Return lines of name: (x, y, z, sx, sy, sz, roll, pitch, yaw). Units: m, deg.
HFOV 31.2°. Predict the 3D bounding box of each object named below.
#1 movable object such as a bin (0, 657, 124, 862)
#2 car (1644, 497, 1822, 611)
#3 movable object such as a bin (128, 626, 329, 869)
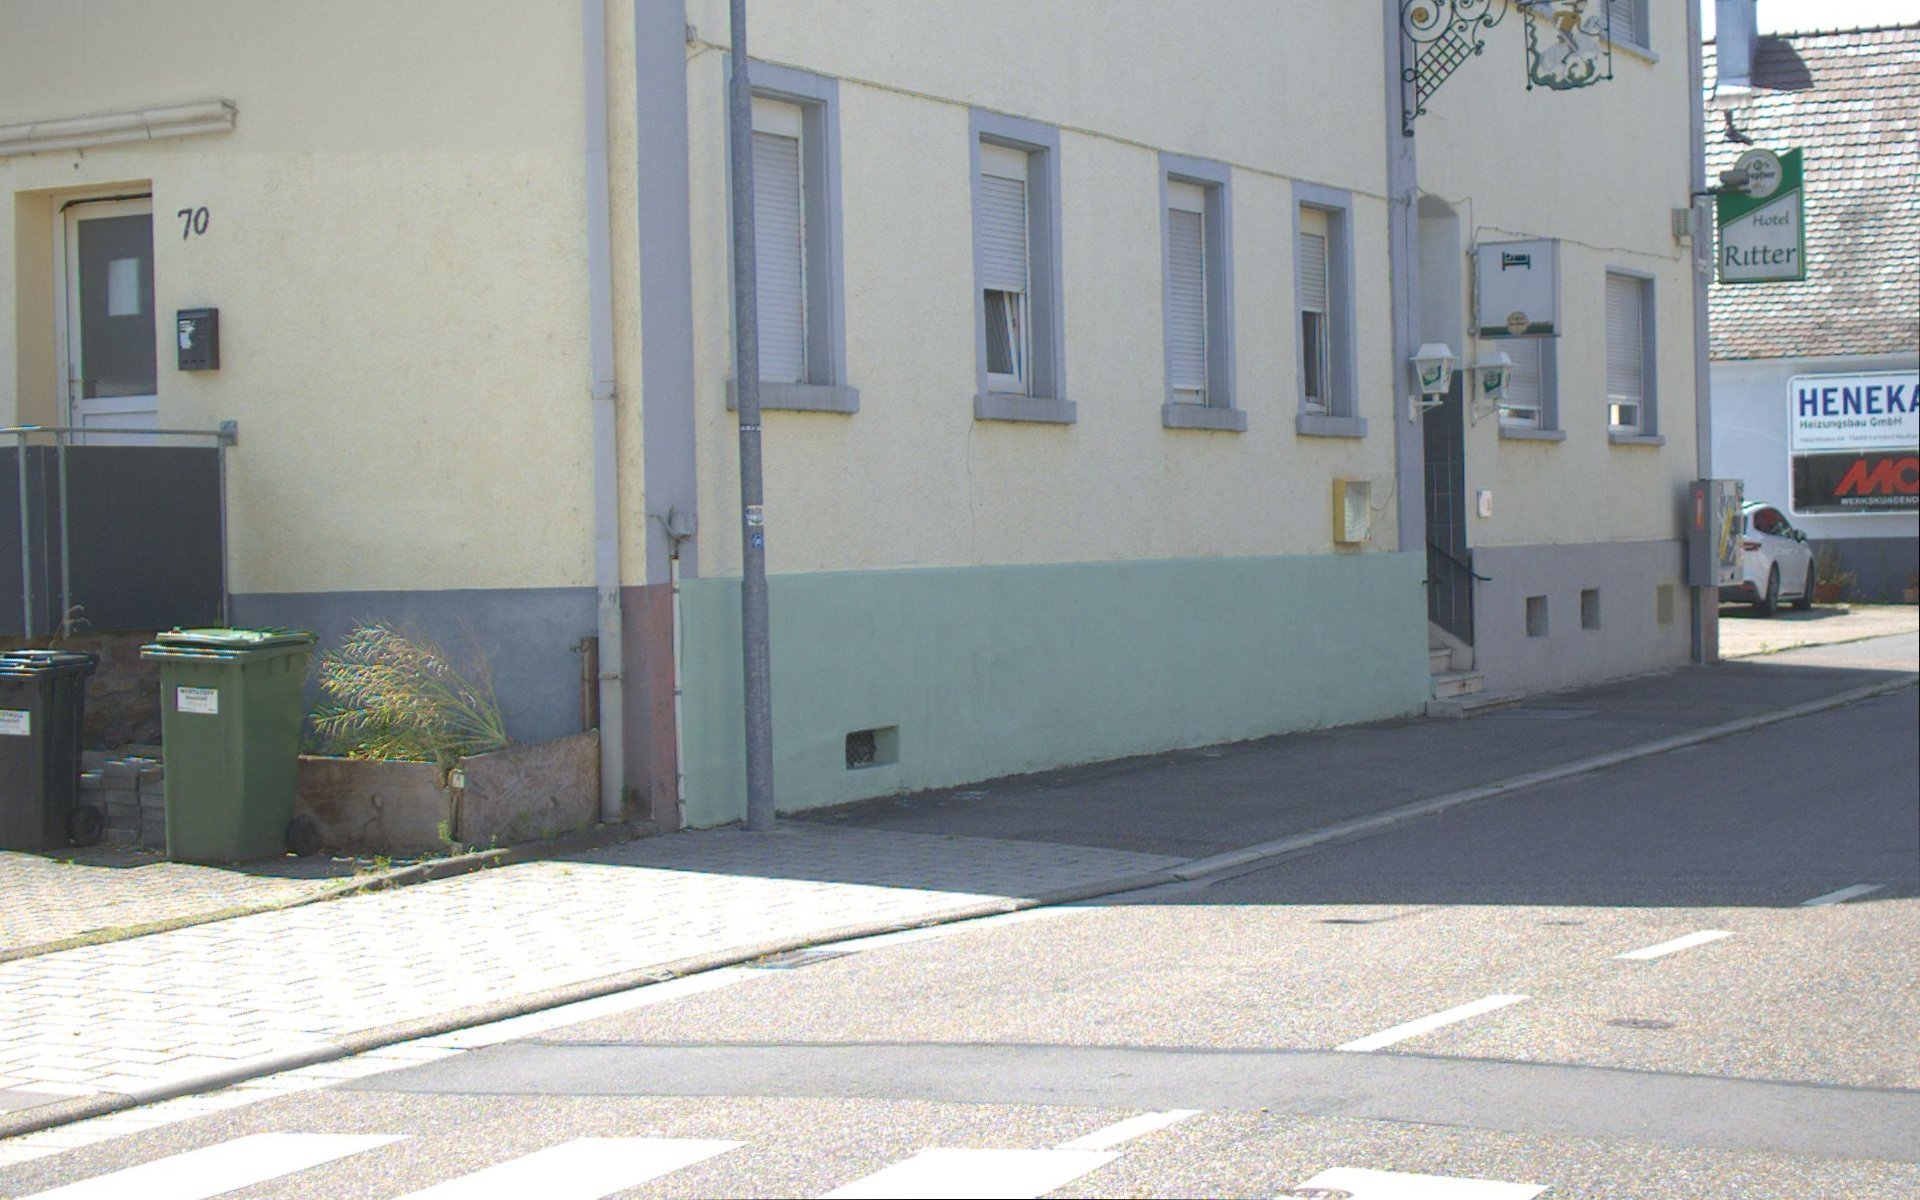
movable object such as a bin: (-4.339, 0.746, 16.258, 0.480, 0.925, 0.546, -1, 1, 28)
car: (11.169, -0.696, 49.502, 1.722, 1.550, 4.194, 1, 2, 24)
movable object such as a bin: (-3.382, 0.670, 15.925, 0.600, 1.075, 0.657, -1, 1, 28)
